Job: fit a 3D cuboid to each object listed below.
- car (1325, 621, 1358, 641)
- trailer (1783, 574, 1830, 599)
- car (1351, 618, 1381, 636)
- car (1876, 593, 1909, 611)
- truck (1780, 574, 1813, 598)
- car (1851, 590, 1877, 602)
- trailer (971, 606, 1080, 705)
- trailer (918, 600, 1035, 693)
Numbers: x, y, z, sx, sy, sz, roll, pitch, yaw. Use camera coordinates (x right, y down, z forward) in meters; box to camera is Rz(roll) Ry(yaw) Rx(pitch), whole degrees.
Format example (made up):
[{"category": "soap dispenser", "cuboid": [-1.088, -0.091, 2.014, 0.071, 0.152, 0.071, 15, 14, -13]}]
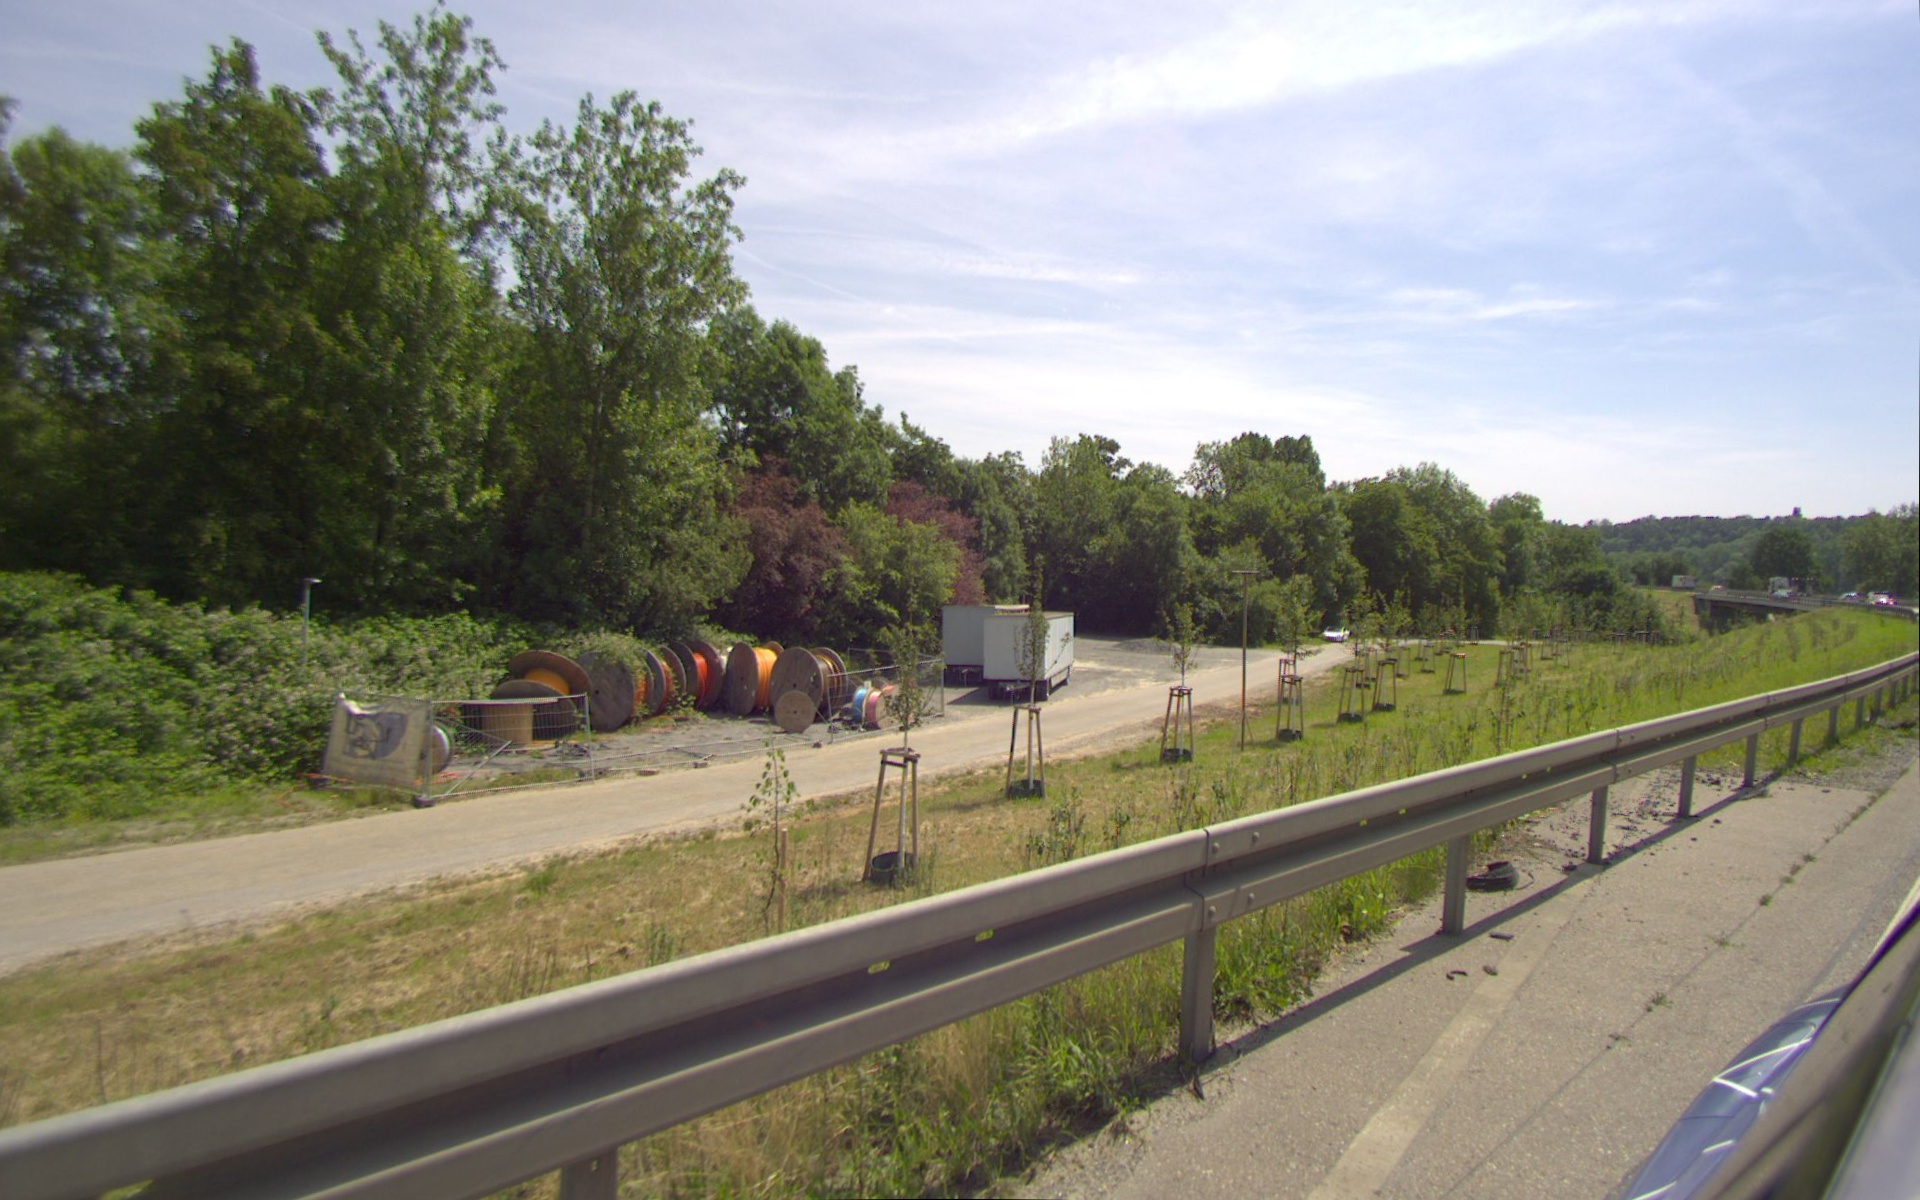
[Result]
[{"category": "car", "cuboid": [35.658, 2.877, 94.550, 1.851, 1.500, 4.554, 6, 3, 32]}, {"category": "trailer", "cuboid": [140.628, -2.304, 168.294, 3.102, 4.029, 15.198, 1, 2, 29]}, {"category": "car", "cuboid": [41.737, 2.749, 103.912, 1.853, 1.702, 4.146, 6, 3, 35]}, {"category": "car", "cuboid": [97.234, 0.200, 105.565, 1.968, 1.753, 3.952, 1, 2, 34]}, {"category": "truck", "cuboid": [143.986, -2.418, 174.251, 3.102, 4.007, 6.553, 1, 1, 30]}, {"category": "car", "cuboid": [124.294, -0.526, 139.209, 1.758, 1.512, 4.128, 1, 1, 29]}, {"category": "trailer", "cuboid": [3.086, 2.071, 43.170, 2.686, 3.369, 11.847, 1, 1, 13]}, {"category": "trailer", "cuboid": [1.085, 1.907, 47.538, 2.688, 3.652, 11.838, 0, 0, 15]}]
